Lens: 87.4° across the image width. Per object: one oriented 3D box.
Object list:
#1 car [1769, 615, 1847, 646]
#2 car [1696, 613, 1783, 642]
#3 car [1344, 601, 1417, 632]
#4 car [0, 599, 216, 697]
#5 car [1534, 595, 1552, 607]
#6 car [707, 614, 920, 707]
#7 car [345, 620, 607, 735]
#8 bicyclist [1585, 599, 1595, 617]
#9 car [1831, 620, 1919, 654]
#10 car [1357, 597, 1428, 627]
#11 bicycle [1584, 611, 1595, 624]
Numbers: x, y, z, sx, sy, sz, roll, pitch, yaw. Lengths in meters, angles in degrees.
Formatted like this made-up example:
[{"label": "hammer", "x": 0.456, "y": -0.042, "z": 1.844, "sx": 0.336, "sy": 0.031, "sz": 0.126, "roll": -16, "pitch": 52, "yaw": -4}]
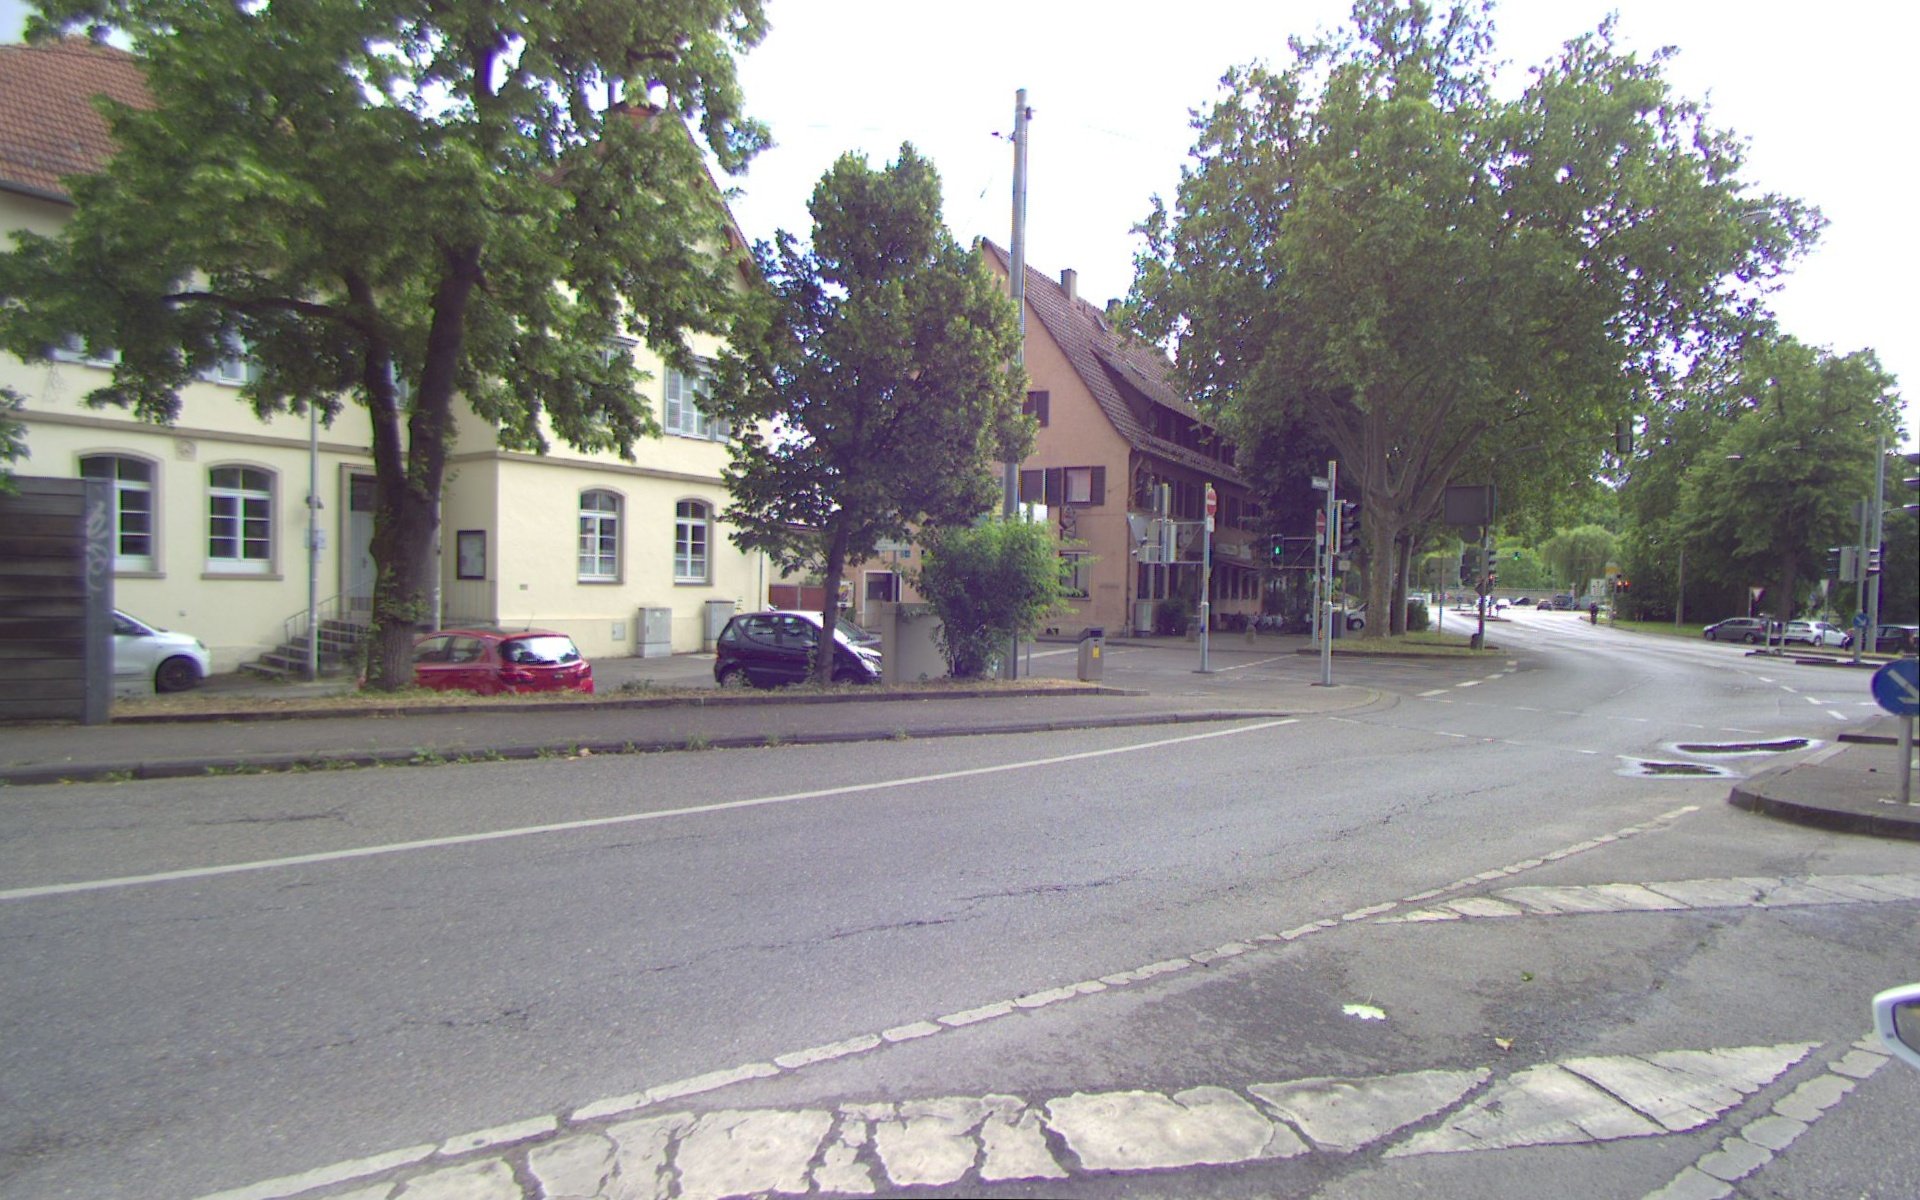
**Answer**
[{"label": "car", "x": 48.670, "y": 1.736, "z": 57.671, "sx": 3.699, "sy": 1.662, "sz": 1.857, "roll": 1, "pitch": 0, "yaw": -21}, {"label": "car", "x": 45.003, "y": 1.580, "z": 58.086, "sx": 1.593, "sy": 1.485, "sz": 3.776, "roll": 1, "pitch": 0, "yaw": -13}, {"label": "car", "x": 25.072, "y": 0.986, "z": 59.981, "sx": 3.923, "sy": 1.706, "sz": 1.999, "roll": 1, "pitch": 0, "yaw": 23}, {"label": "car", "x": -14.899, "y": 0.761, "z": 16.982, "sx": 1.585, "sy": 1.499, "sz": 3.424, "roll": 2, "pitch": 0, "yaw": 37}, {"label": "car", "x": 84.366, "y": 0.164, "z": 145.382, "sx": 1.963, "sy": 1.617, "sz": 3.996, "roll": 2, "pitch": 0, "yaw": 26}, {"label": "car", "x": -2.683, "y": 1.045, "z": 18.430, "sx": 3.506, "sy": 1.459, "sz": 1.645, "roll": 2, "pitch": 0, "yaw": 24}, {"label": "car", "x": -7.259, "y": 1.068, "z": 15.035, "sx": 3.651, "sy": 1.401, "sz": 1.660, "roll": 2, "pitch": 0, "yaw": 27}, {"label": "bicyclist", "x": 48.195, "y": 0.583, "z": 76.872, "sx": 0.531, "sy": 1.360, "sz": 0.713, "roll": 2, "pitch": 1, "yaw": 27}, {"label": "car", "x": 41.207, "y": 1.635, "z": 44.763, "sx": 1.747, "sy": 1.370, "sz": 3.325, "roll": 2, "pitch": 0, "yaw": -5}, {"label": "car", "x": 26.712, "y": 0.728, "z": 62.132, "sx": 3.923, "sy": 1.706, "sz": 1.999, "roll": 1, "pitch": 0, "yaw": 23}, {"label": "bicycle", "x": 48.202, "y": 1.311, "z": 76.899, "sx": 0.548, "sy": 0.971, "sz": 2.030, "roll": 2, "pitch": 0, "yaw": 27}]
